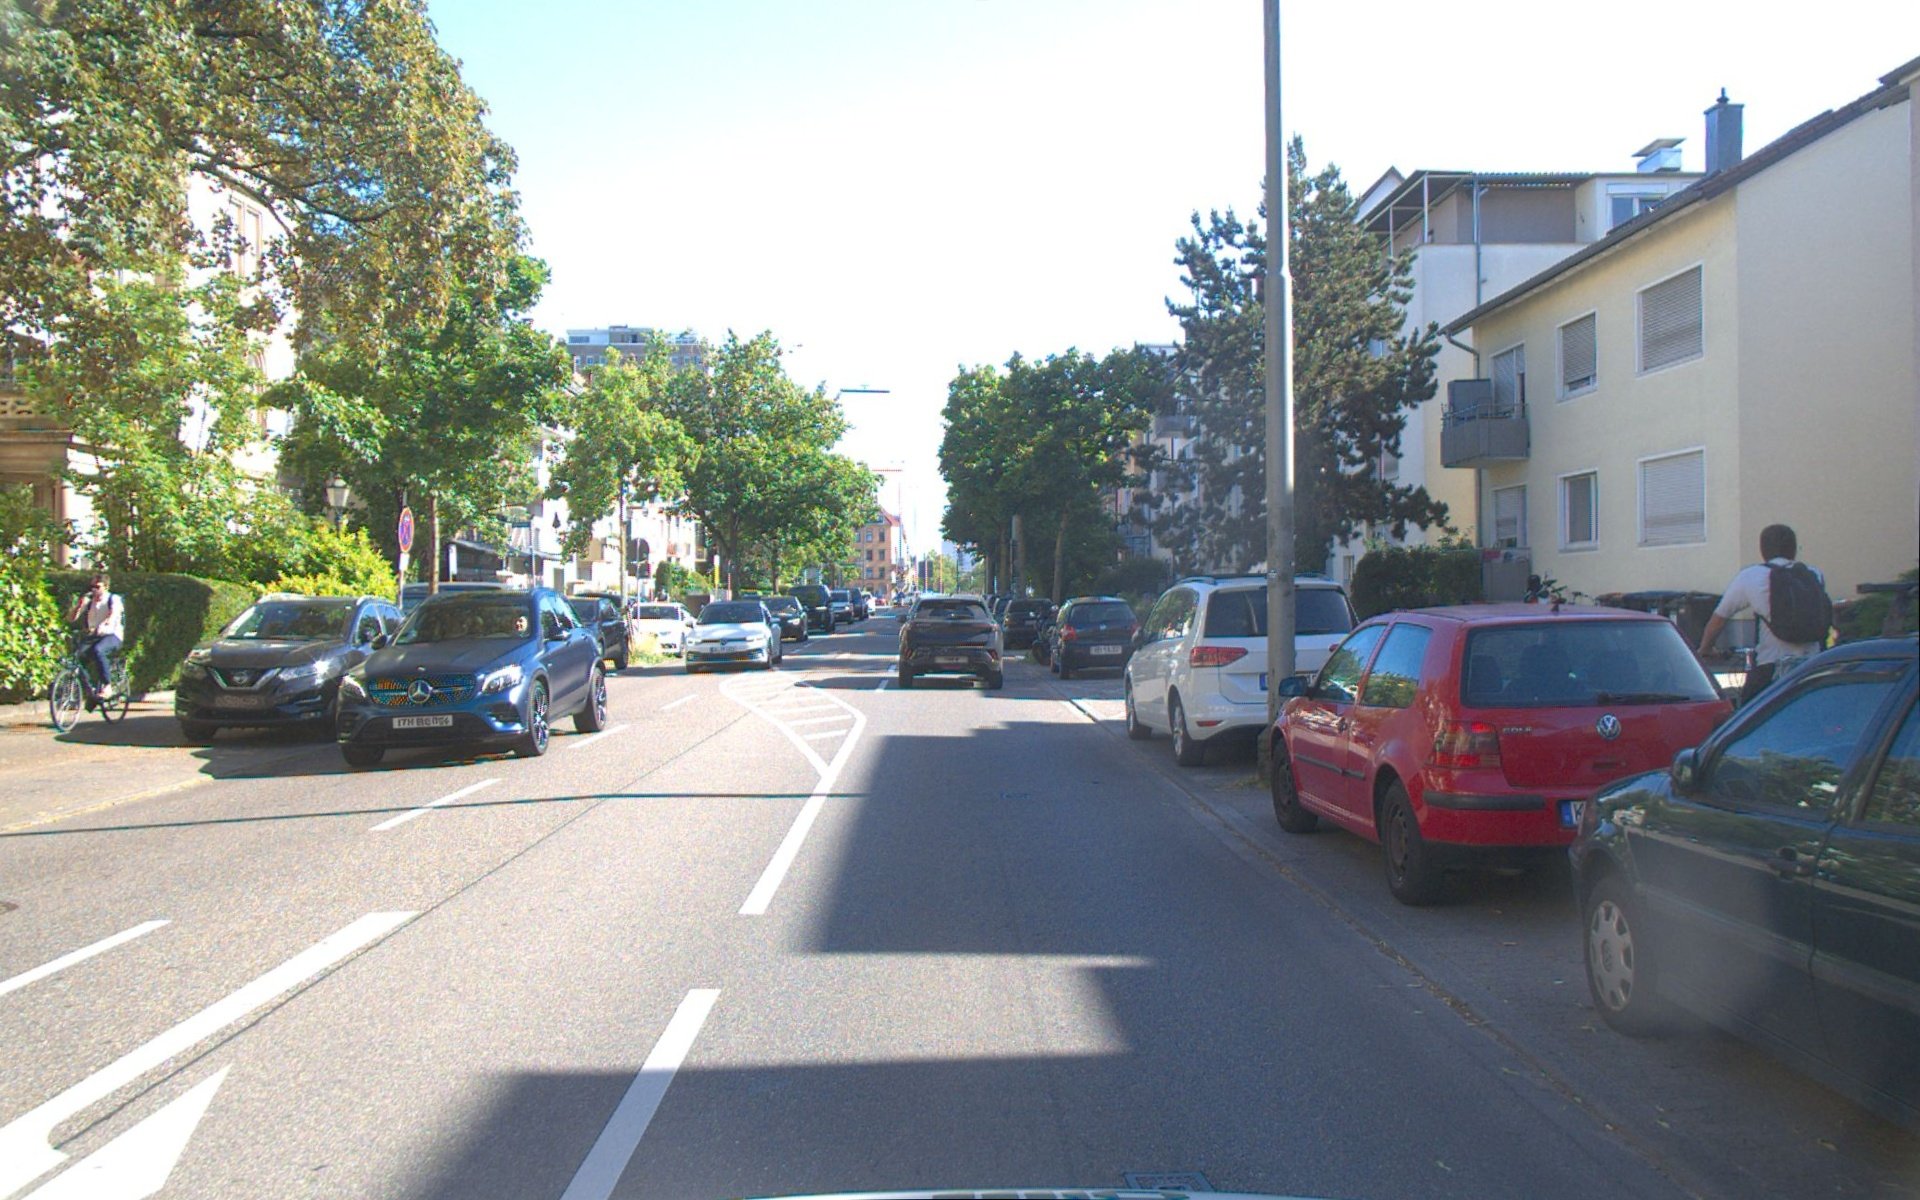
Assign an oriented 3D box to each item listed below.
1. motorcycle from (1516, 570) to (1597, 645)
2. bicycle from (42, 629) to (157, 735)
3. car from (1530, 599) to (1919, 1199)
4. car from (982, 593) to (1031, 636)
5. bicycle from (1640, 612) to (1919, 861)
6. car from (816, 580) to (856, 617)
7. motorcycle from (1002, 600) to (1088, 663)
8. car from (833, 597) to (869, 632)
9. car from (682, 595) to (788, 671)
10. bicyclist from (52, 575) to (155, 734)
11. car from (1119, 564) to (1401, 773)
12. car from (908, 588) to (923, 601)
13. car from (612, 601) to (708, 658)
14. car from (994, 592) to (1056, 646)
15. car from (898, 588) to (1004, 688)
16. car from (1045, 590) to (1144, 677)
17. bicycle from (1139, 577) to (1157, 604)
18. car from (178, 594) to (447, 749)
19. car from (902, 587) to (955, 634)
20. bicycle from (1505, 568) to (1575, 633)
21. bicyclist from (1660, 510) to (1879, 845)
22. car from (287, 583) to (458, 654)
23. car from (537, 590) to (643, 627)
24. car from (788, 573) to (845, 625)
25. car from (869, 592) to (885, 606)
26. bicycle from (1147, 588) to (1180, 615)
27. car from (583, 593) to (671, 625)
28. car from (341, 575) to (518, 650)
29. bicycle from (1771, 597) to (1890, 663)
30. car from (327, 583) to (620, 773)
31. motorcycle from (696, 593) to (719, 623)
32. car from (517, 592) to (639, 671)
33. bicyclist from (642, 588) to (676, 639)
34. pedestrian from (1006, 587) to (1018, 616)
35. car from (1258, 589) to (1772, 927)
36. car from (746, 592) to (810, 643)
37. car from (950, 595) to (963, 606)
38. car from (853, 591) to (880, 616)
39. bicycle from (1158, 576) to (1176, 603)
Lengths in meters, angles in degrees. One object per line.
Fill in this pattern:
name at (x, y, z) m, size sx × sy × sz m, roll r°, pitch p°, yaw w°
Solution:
motorcycle at (11.613, 0.129, 32.273) m, size 0.623 × 1.399 × 2.425 m, roll -2°, pitch 0°, yaw -1°
bicycle at (-10.069, 0.932, 19.412) m, size 0.439 × 1.135 × 1.764 m, roll 1°, pitch 0°, yaw -2°
car at (3.005, 0.715, 4.563) m, size 1.501 × 1.379 × 3.717 m, roll -1°, pitch 0°, yaw -1°
car at (1.679, 0.509, 59.322) m, size 1.657 × 1.453 × 4.148 m, roll -1°, pitch 0°, yaw 2°
bicycle at (4.727, 0.730, 9.677) m, size 0.684 × 1.268 × 1.821 m, roll -2°, pitch 0°, yaw -1°
car at (-6.433, -0.068, 86.480) m, size 1.779 × 1.773 × 4.492 m, roll -3°, pitch 0°, yaw -2°
motorcycle at (1.826, 0.668, 35.875) m, size 0.690 × 1.294 × 2.409 m, roll -3°, pitch 0°, yaw -28°
car at (-6.407, 0.823, 97.577) m, size 1.767 × 1.944 × 4.711 m, roll -3°, pitch 0°, yaw -1°
car at (-4.762, 0.667, 35.517) m, size 1.698 × 1.437 × 4.191 m, roll -3°, pitch 0°, yaw -1°
bicyclist at (-10.062, 0.618, 19.469) m, size 0.570 × 1.797 × 1.208 m, roll 1°, pitch 0°, yaw -2°
car at (2.723, 0.557, 16.013) m, size 1.733 × 1.688 × 4.339 m, roll -2°, pitch 0°, yaw -2°
car at (-5.439, -0.656, 202.285) m, size 1.735 × 1.478 × 3.885 m, roll -1°, pitch 0°, yaw -1°
car at (-7.957, 0.744, 44.255) m, size 1.796 × 1.413 × 4.801 m, roll 0°, pitch 0°, yaw -1°
car at (1.839, 0.500, 47.829) m, size 1.554 × 1.420 × 4.453 m, roll -2°, pitch 0°, yaw 0°
car at (-0.179, 0.610, 28.593) m, size 1.710 × 1.601 × 3.557 m, roll 1°, pitch 0°, yaw -1°
car at (2.512, 0.590, 31.592) m, size 1.587 × 1.525 × 3.649 m, roll -2°, pitch 0°, yaw 0°
bicycle at (9.514, -0.494, 83.724) m, size 0.610 × 1.309 × 1.842 m, roll -3°, pitch 0°, yaw -1°
car at (-7.556, 0.753, 19.749) m, size 1.592 × 1.616 × 4.346 m, roll 1°, pitch 0°, yaw -2°
car at (-1.087, 0.353, 58.945) m, size 1.793 × 1.606 × 3.839 m, roll -1°, pitch 0°, yaw 0°
bicycle at (12.371, 0.002, 35.343) m, size 0.586 × 1.326 × 2.425 m, roll -2°, pitch 0°, yaw -1°
bicyclist at (4.682, 0.422, 9.633) m, size 0.709 × 1.824 × 1.015 m, roll -2°, pitch 0°, yaw -1°
car at (-14.503, 0.432, 40.828) m, size 3.858 × 1.673 × 1.667 m, roll 0°, pitch 1°, yaw -25°
car at (-15.243, 0.355, 68.193) m, size 3.902 × 1.486 × 1.734 m, roll 0°, pitch 1°, yaw 8°
car at (-5.910, -0.046, 68.657) m, size 1.976 × 1.986 × 5.176 m, roll -3°, pitch 0°, yaw -2°
car at (-10.337, -0.149, 205.450) m, size 1.754 × 1.645 × 4.000 m, roll -1°, pitch 0°, yaw 0°
bicycle at (10.079, 0.080, 81.960) m, size 1.506 × 1.244 × 0.463 m, roll -3°, pitch 0°, yaw 30°
car at (-16.060, 0.442, 79.958) m, size 3.906 × 1.512 × 1.880 m, roll 0°, pitch 1°, yaw -2°
car at (-14.078, 0.307, 43.912) m, size 4.262 × 1.912 × 1.864 m, roll 0°, pitch 1°, yaw -27°
bicycle at (14.011, 0.478, 26.629) m, size 1.746 × 1.032 × 0.501 m, roll 1°, pitch 0°, yaw -9°
car at (-4.898, 0.699, 17.333) m, size 1.799 × 1.642 × 4.399 m, roll -3°, pitch 0°, yaw -2°
motorcycle at (-9.890, 0.319, 64.899) m, size 0.451 × 1.145 × 1.718 m, roll 0°, pitch 1°, yaw 7°
car at (-8.072, 0.617, 35.277) m, size 1.643 × 1.582 × 4.007 m, roll 0°, pitch 0°, yaw 0°
bicyclist at (-11.103, 0.498, 60.957) m, size 1.034 × 1.856 × 0.658 m, roll -1°, pitch 0°, yaw 37°
pedestrian at (3.086, 0.070, 97.799) m, size 0.656 × 1.711 × 0.775 m, roll -1°, pitch 0°, yaw -1°
car at (2.837, 0.697, 9.299) m, size 1.501 × 1.475 × 3.716 m, roll -1°, pitch 0°, yaw -2°
car at (-5.832, 0.533, 53.439) m, size 1.657 × 1.479 × 4.172 m, roll -3°, pitch 0°, yaw -2°
car at (-0.543, 0.080, 250.171) m, size 1.952 × 1.546 × 4.000 m, roll 2°, pitch 0°, yaw 1°
car at (-6.681, 0.245, 118.458) m, size 1.770 × 1.676 × 4.671 m, roll -3°, pitch 0°, yaw -2°
bicycle at (10.456, -0.539, 83.519) m, size 0.579 × 1.309 × 1.689 m, roll -3°, pitch 0°, yaw -1°
